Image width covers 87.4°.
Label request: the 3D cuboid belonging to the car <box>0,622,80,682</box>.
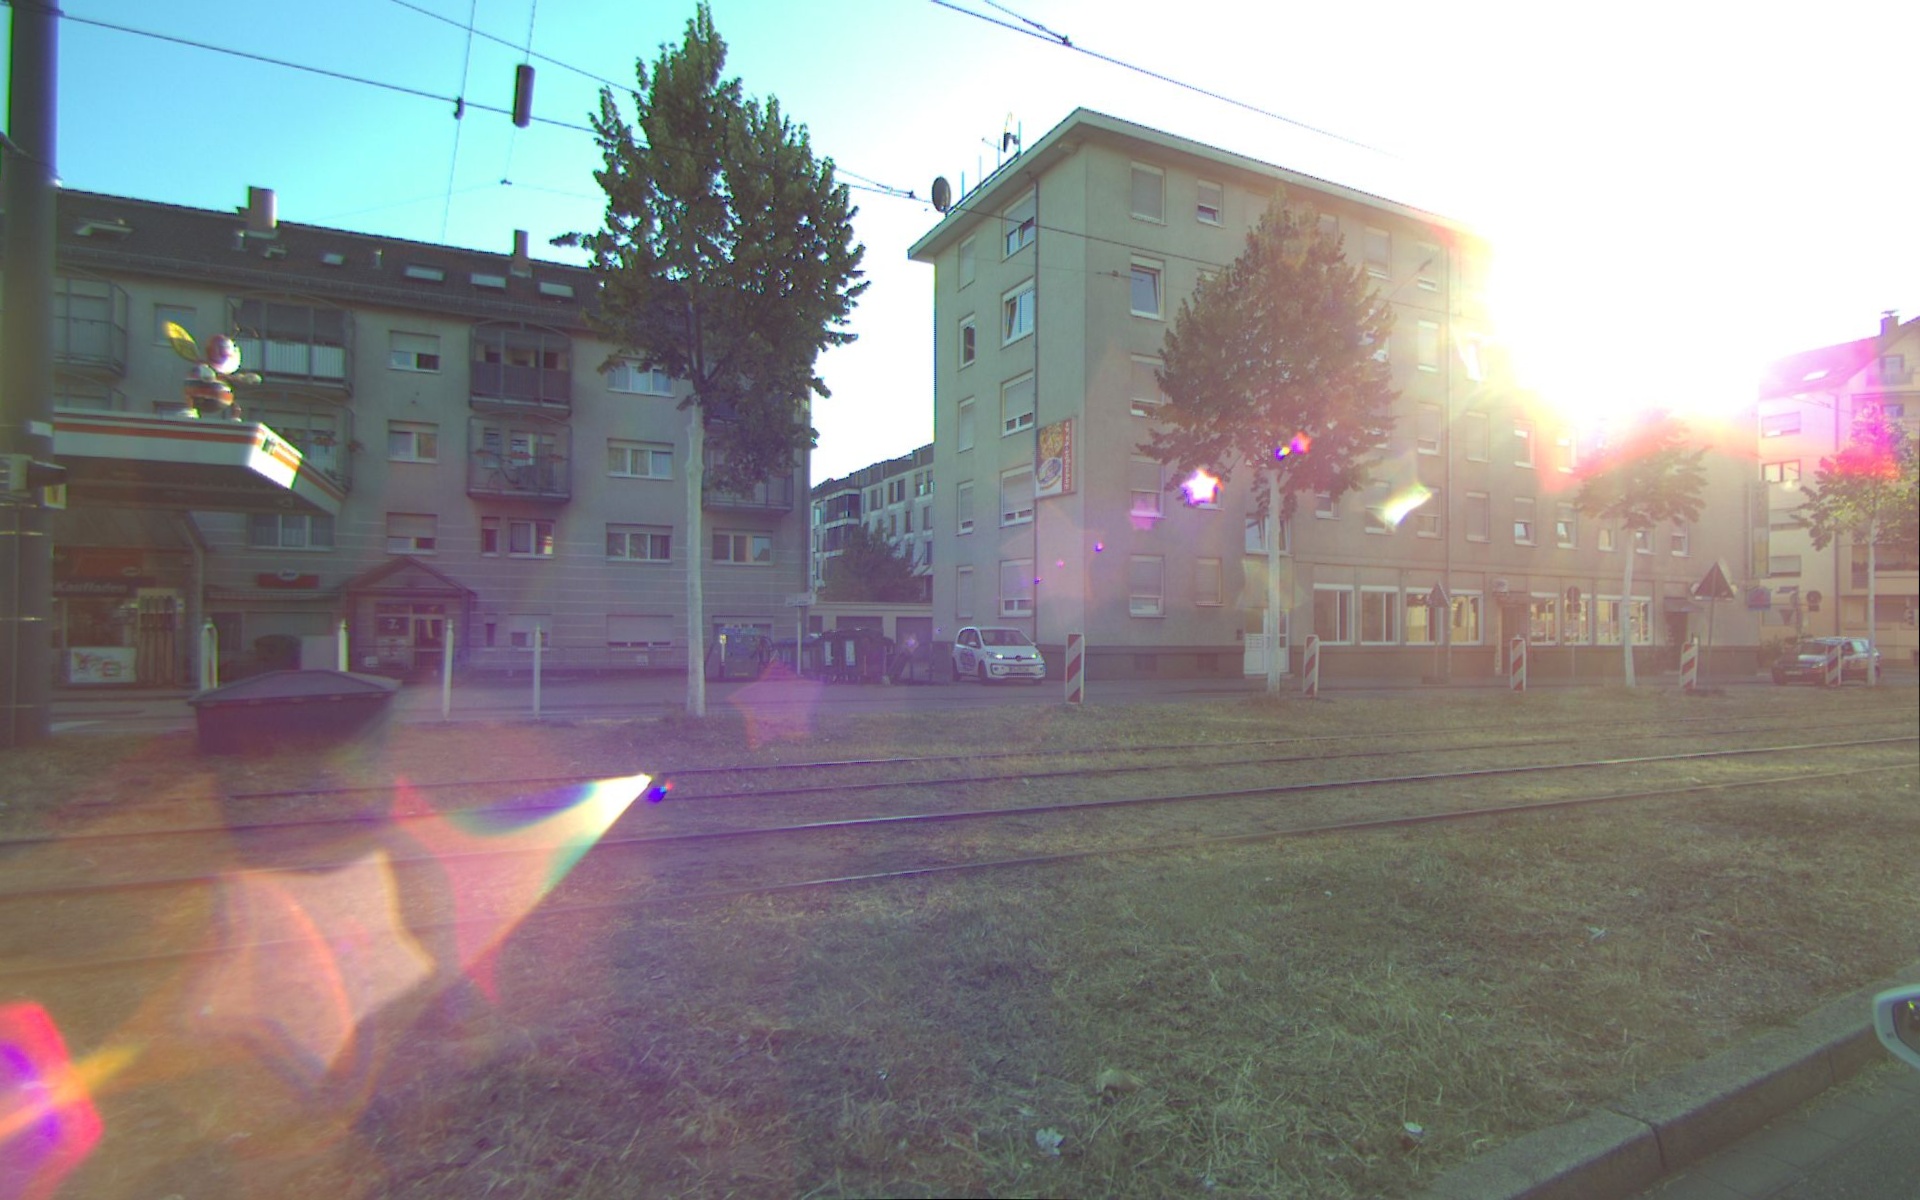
[{"bbox_3d":[-25.879,1.343,26.379,3.778,1.543,1.806,1,-2,-26],"label":"car"}]

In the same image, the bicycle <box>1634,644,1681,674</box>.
[{"bbox_3d":[26.785,2.265,38.581,1.755,1.129,0.744,1,-2,-27],"label":"bicycle"}]

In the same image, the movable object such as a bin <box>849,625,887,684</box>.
[{"bbox_3d":[-2.259,1.332,24.607,0.739,1.419,0.660,1,-2,-28],"label":"movable object such as a bin"}]

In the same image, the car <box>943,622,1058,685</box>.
[{"bbox_3d":[0.985,1.387,26.342,1.789,1.532,3.814,1,-3,-18],"label":"car"}]

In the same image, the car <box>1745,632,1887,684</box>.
[{"bbox_3d":[29.176,1.941,34.208,4.867,1.580,1.807,0,-3,-25],"label":"car"}]
